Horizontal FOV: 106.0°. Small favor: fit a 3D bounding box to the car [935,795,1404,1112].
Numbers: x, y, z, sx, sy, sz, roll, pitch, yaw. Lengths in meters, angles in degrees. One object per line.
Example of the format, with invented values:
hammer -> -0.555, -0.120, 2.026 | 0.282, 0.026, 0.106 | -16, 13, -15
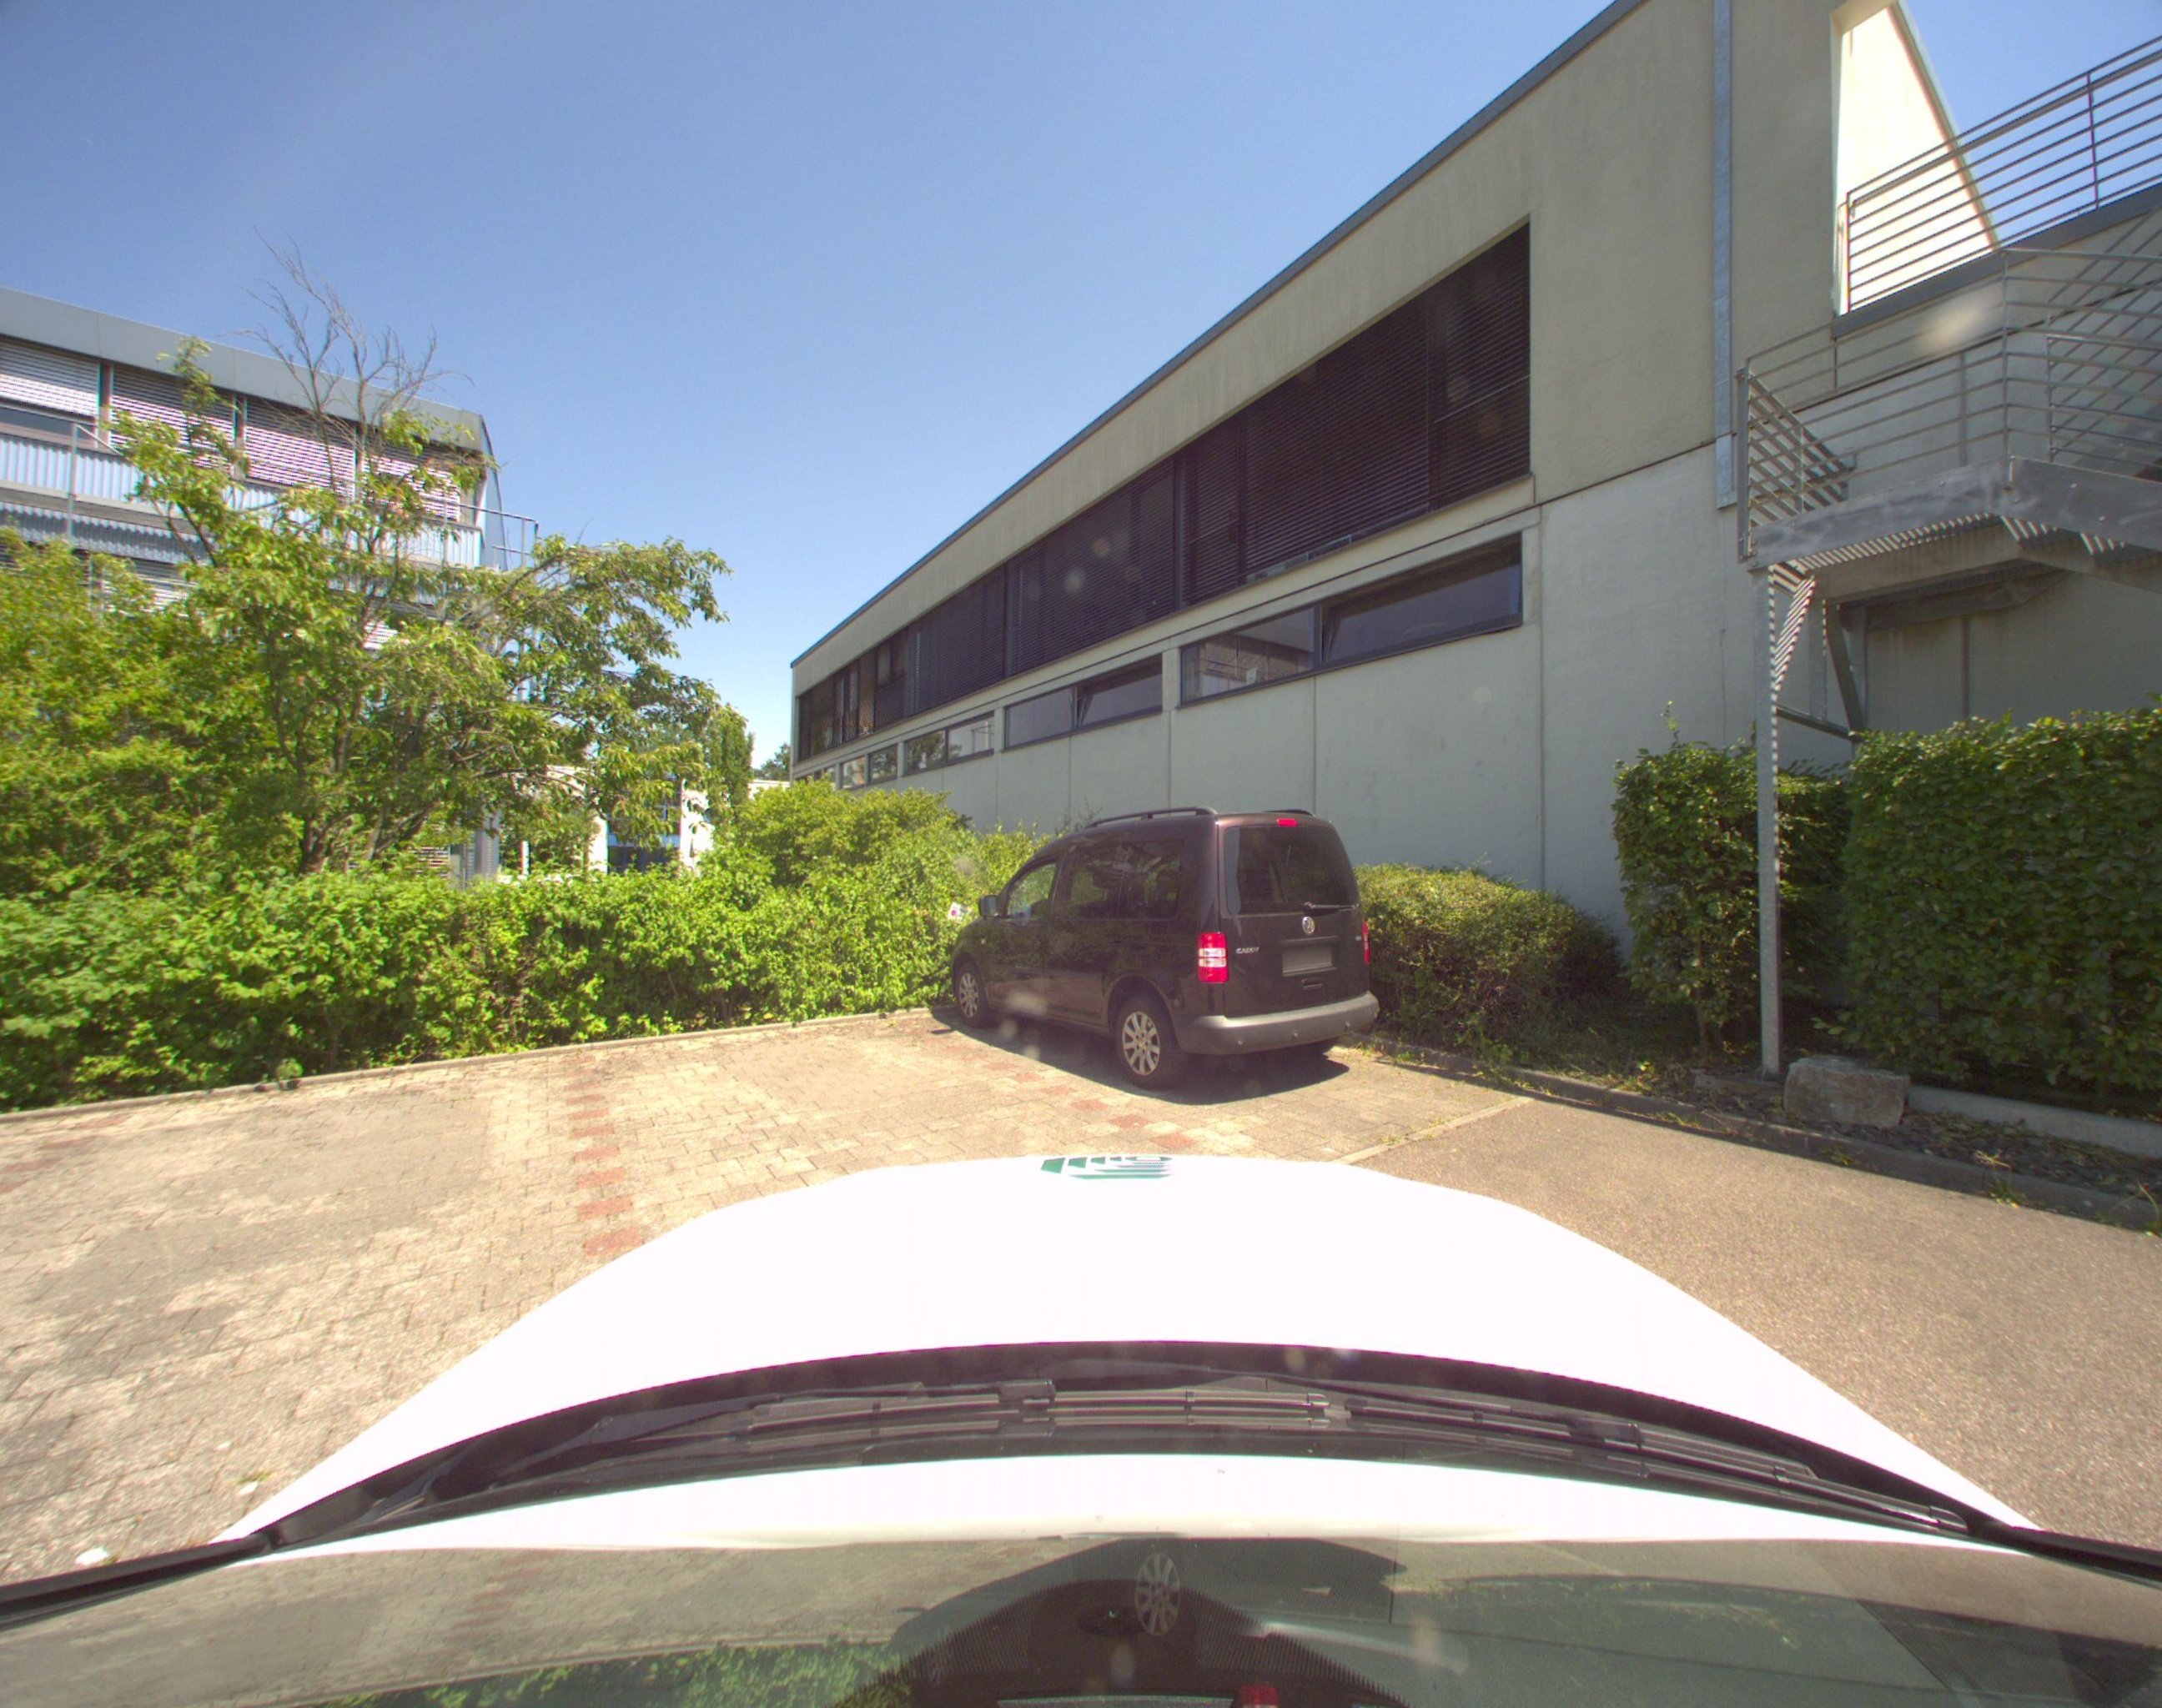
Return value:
car -> 0.416, 0.604, 6.863 | 1.756, 1.837, 3.957 | 0, -1, -35
